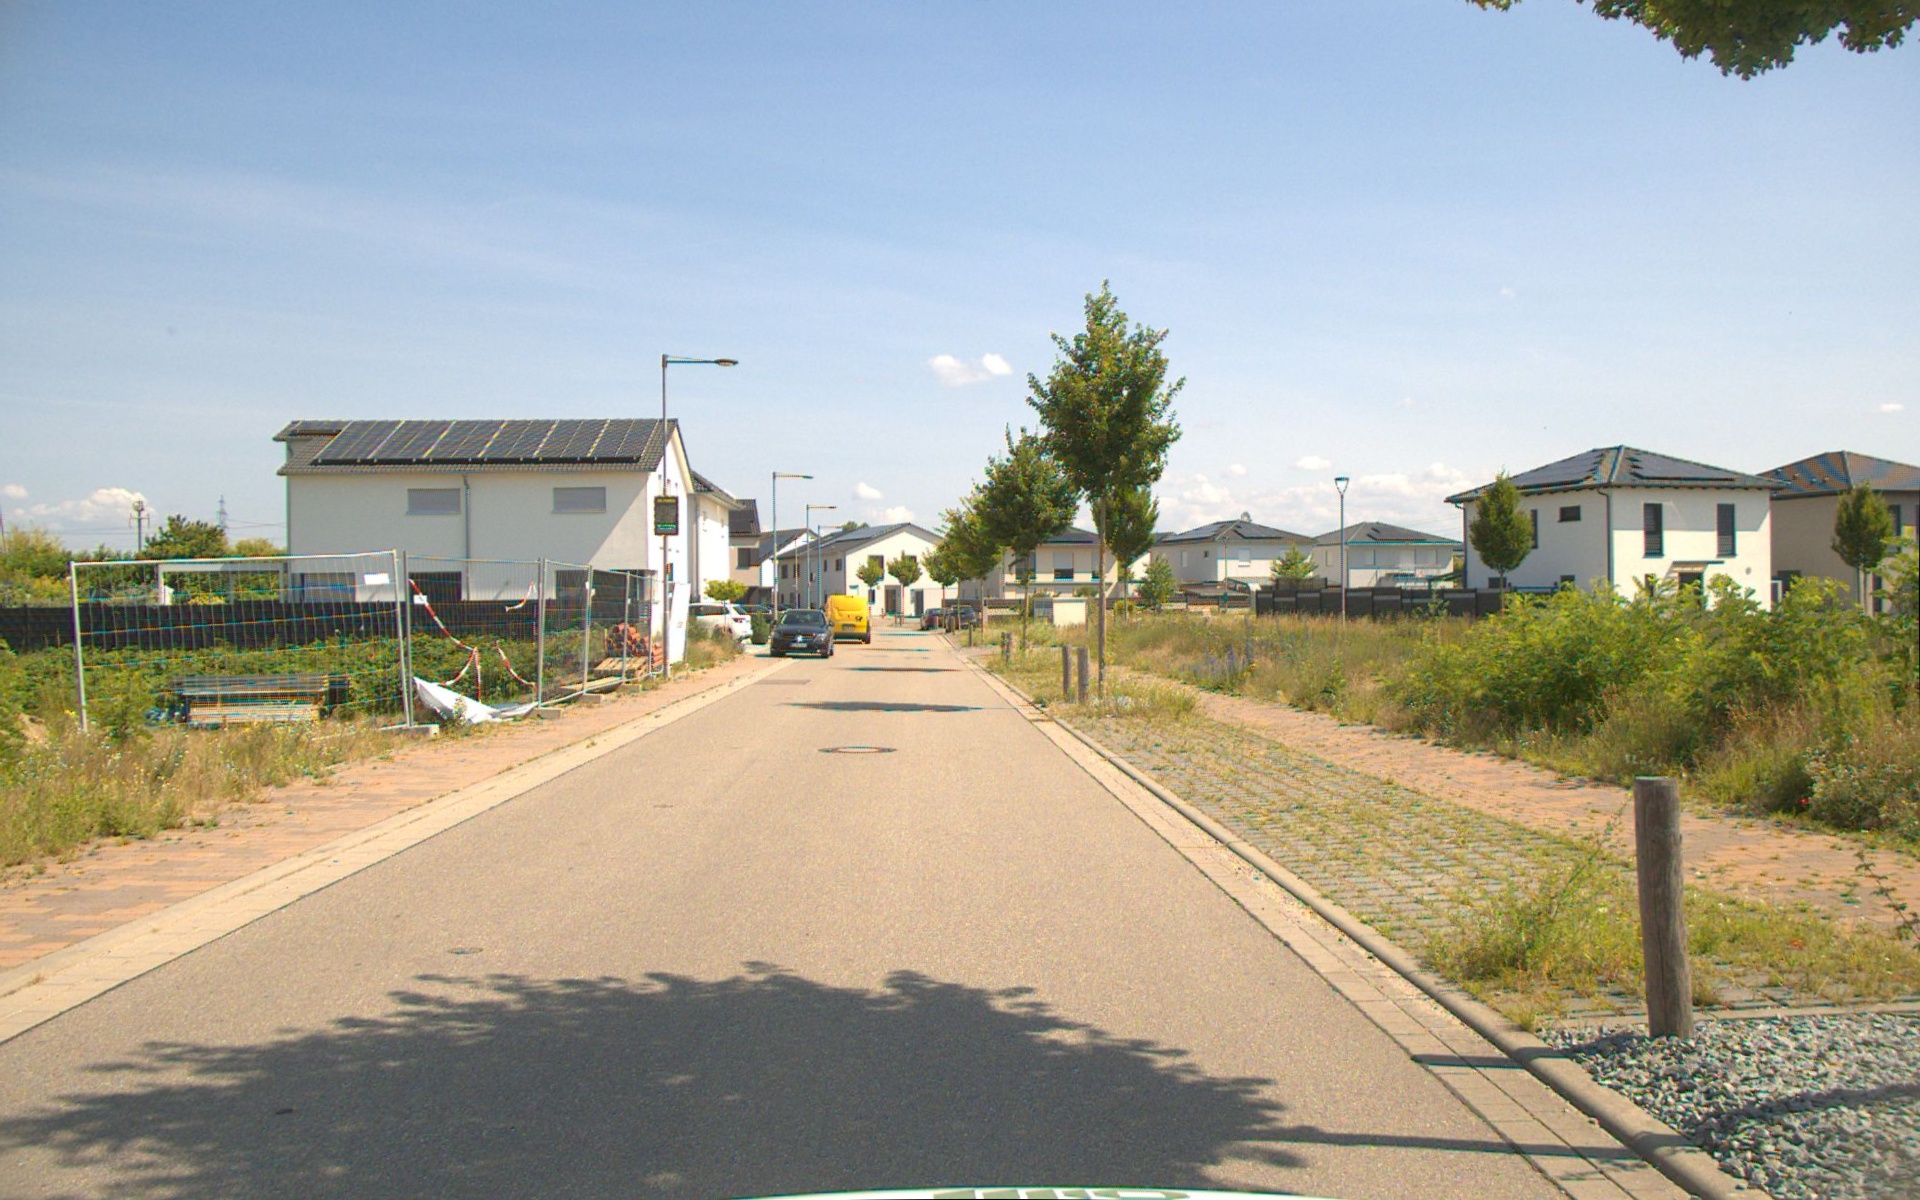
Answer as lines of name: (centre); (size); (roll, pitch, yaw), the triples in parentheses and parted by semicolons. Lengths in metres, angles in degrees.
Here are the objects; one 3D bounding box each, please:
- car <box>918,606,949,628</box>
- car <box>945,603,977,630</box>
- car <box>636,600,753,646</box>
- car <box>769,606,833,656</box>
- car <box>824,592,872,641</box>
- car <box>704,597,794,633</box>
car: (-1.763, 1.131, 109.933); (1.597, 1.346, 3.825); (0, -2, -9)
car: (0.035, 0.932, 91.383); (1.606, 1.427, 3.808); (-1, -2, -3)
car: (-9.814, 0.828, 61.282); (3.983, 1.609, 1.785); (1, 1, 3)
car: (-4.862, 0.925, 50.955); (1.710, 1.429, 4.158); (2, 0, -2)
car: (-4.839, 0.731, 71.119); (1.904, 2.016, 4.211); (-1, -1, -6)
car: (-10.412, 0.750, 81.643); (4.096, 1.531, 1.806); (4, -1, -18)
